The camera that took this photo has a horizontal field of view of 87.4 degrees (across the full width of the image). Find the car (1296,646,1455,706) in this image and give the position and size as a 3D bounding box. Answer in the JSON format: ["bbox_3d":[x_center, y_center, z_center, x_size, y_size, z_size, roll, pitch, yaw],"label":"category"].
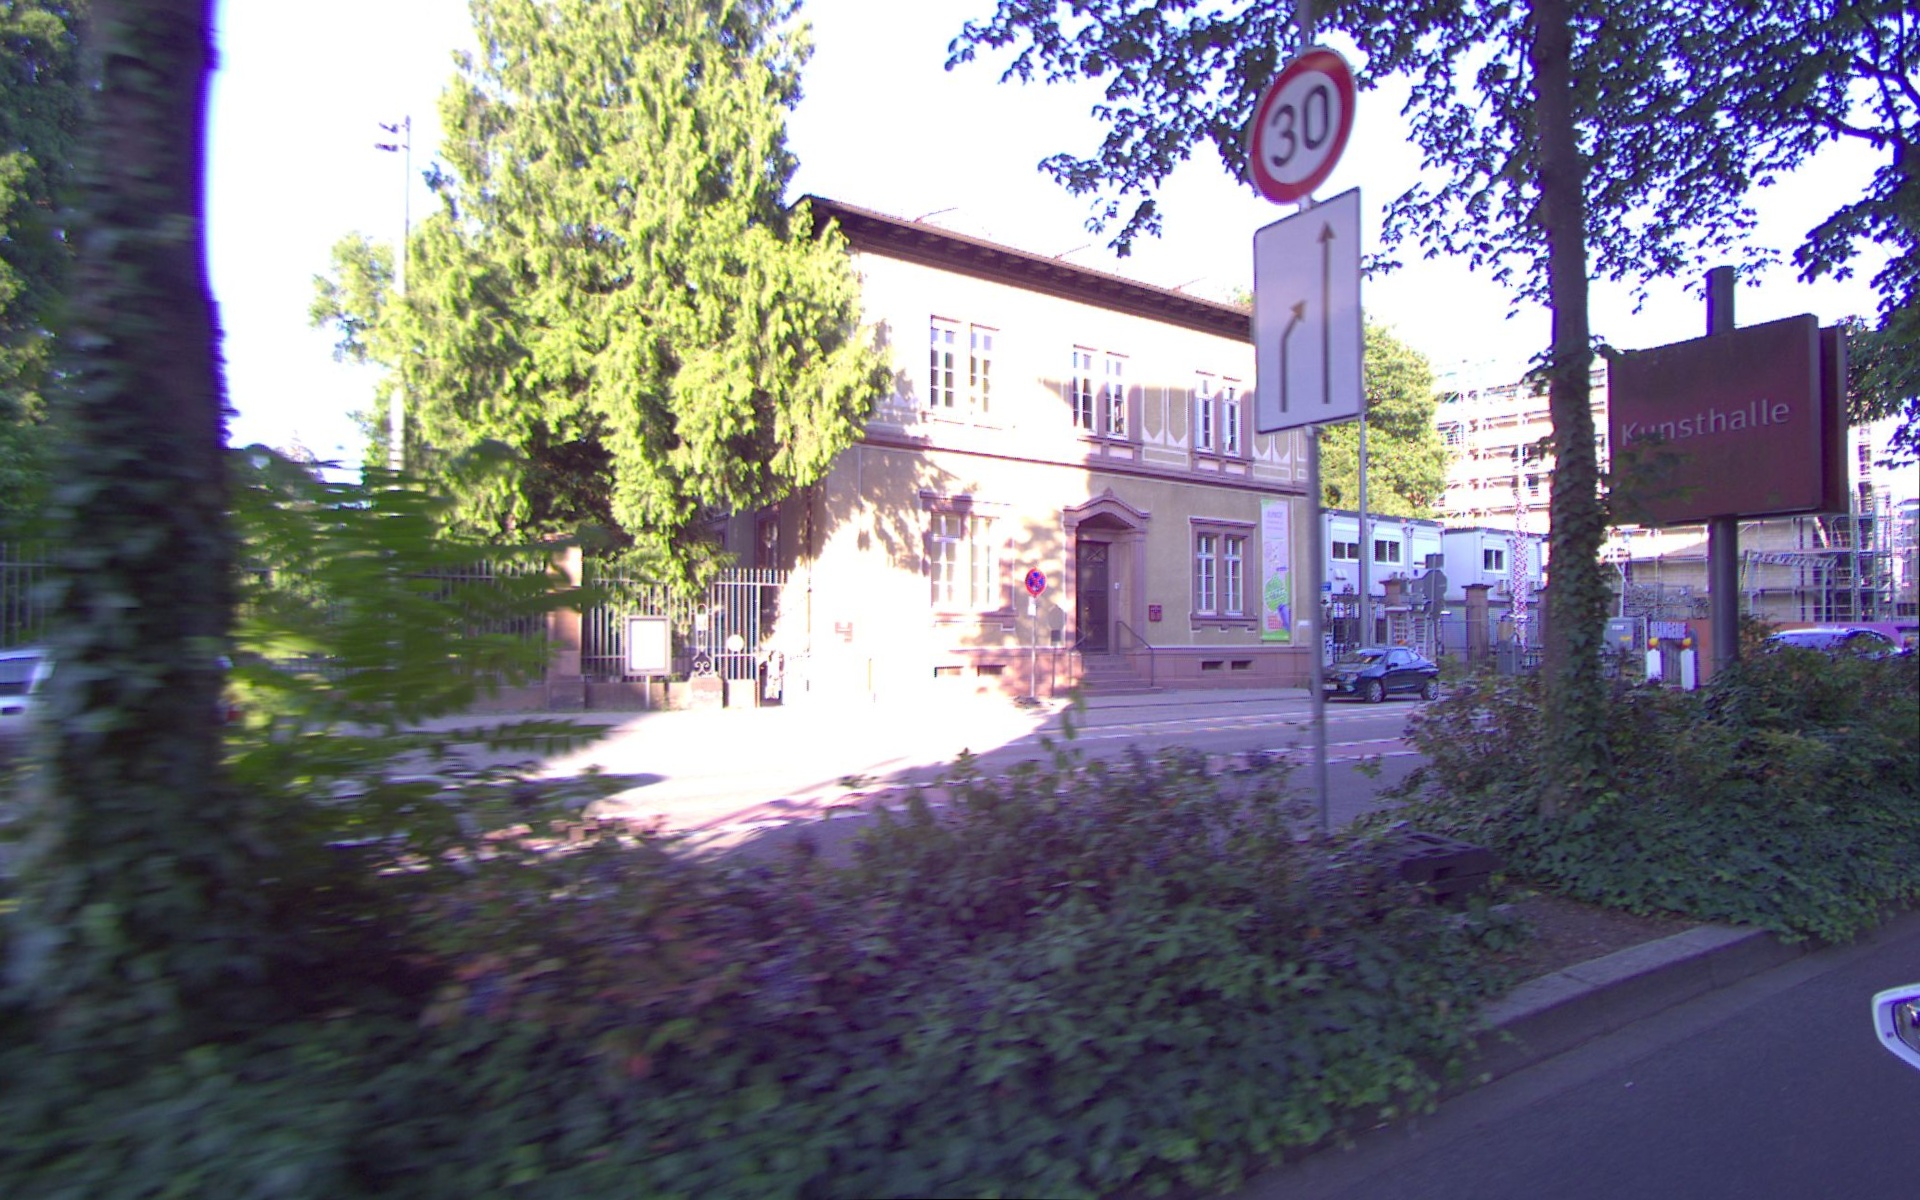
[{"bbox_3d":[10.343,1.842,24.946,3.842,1.368,1.672,1,-3,-31],"label":"car"}]

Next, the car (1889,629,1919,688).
[{"bbox_3d":[27.877,1.595,27.886,4.123,1.571,1.835,1,-3,-29],"label":"car"}]

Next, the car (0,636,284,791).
[{"bbox_3d":[-10.278,1.220,11.326,4.322,1.568,1.734,1,-1,-33],"label":"car"}]

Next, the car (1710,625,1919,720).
[{"bbox_3d":[17.051,1.367,19.814,4.498,1.696,1.836,1,-3,-28],"label":"car"}]
